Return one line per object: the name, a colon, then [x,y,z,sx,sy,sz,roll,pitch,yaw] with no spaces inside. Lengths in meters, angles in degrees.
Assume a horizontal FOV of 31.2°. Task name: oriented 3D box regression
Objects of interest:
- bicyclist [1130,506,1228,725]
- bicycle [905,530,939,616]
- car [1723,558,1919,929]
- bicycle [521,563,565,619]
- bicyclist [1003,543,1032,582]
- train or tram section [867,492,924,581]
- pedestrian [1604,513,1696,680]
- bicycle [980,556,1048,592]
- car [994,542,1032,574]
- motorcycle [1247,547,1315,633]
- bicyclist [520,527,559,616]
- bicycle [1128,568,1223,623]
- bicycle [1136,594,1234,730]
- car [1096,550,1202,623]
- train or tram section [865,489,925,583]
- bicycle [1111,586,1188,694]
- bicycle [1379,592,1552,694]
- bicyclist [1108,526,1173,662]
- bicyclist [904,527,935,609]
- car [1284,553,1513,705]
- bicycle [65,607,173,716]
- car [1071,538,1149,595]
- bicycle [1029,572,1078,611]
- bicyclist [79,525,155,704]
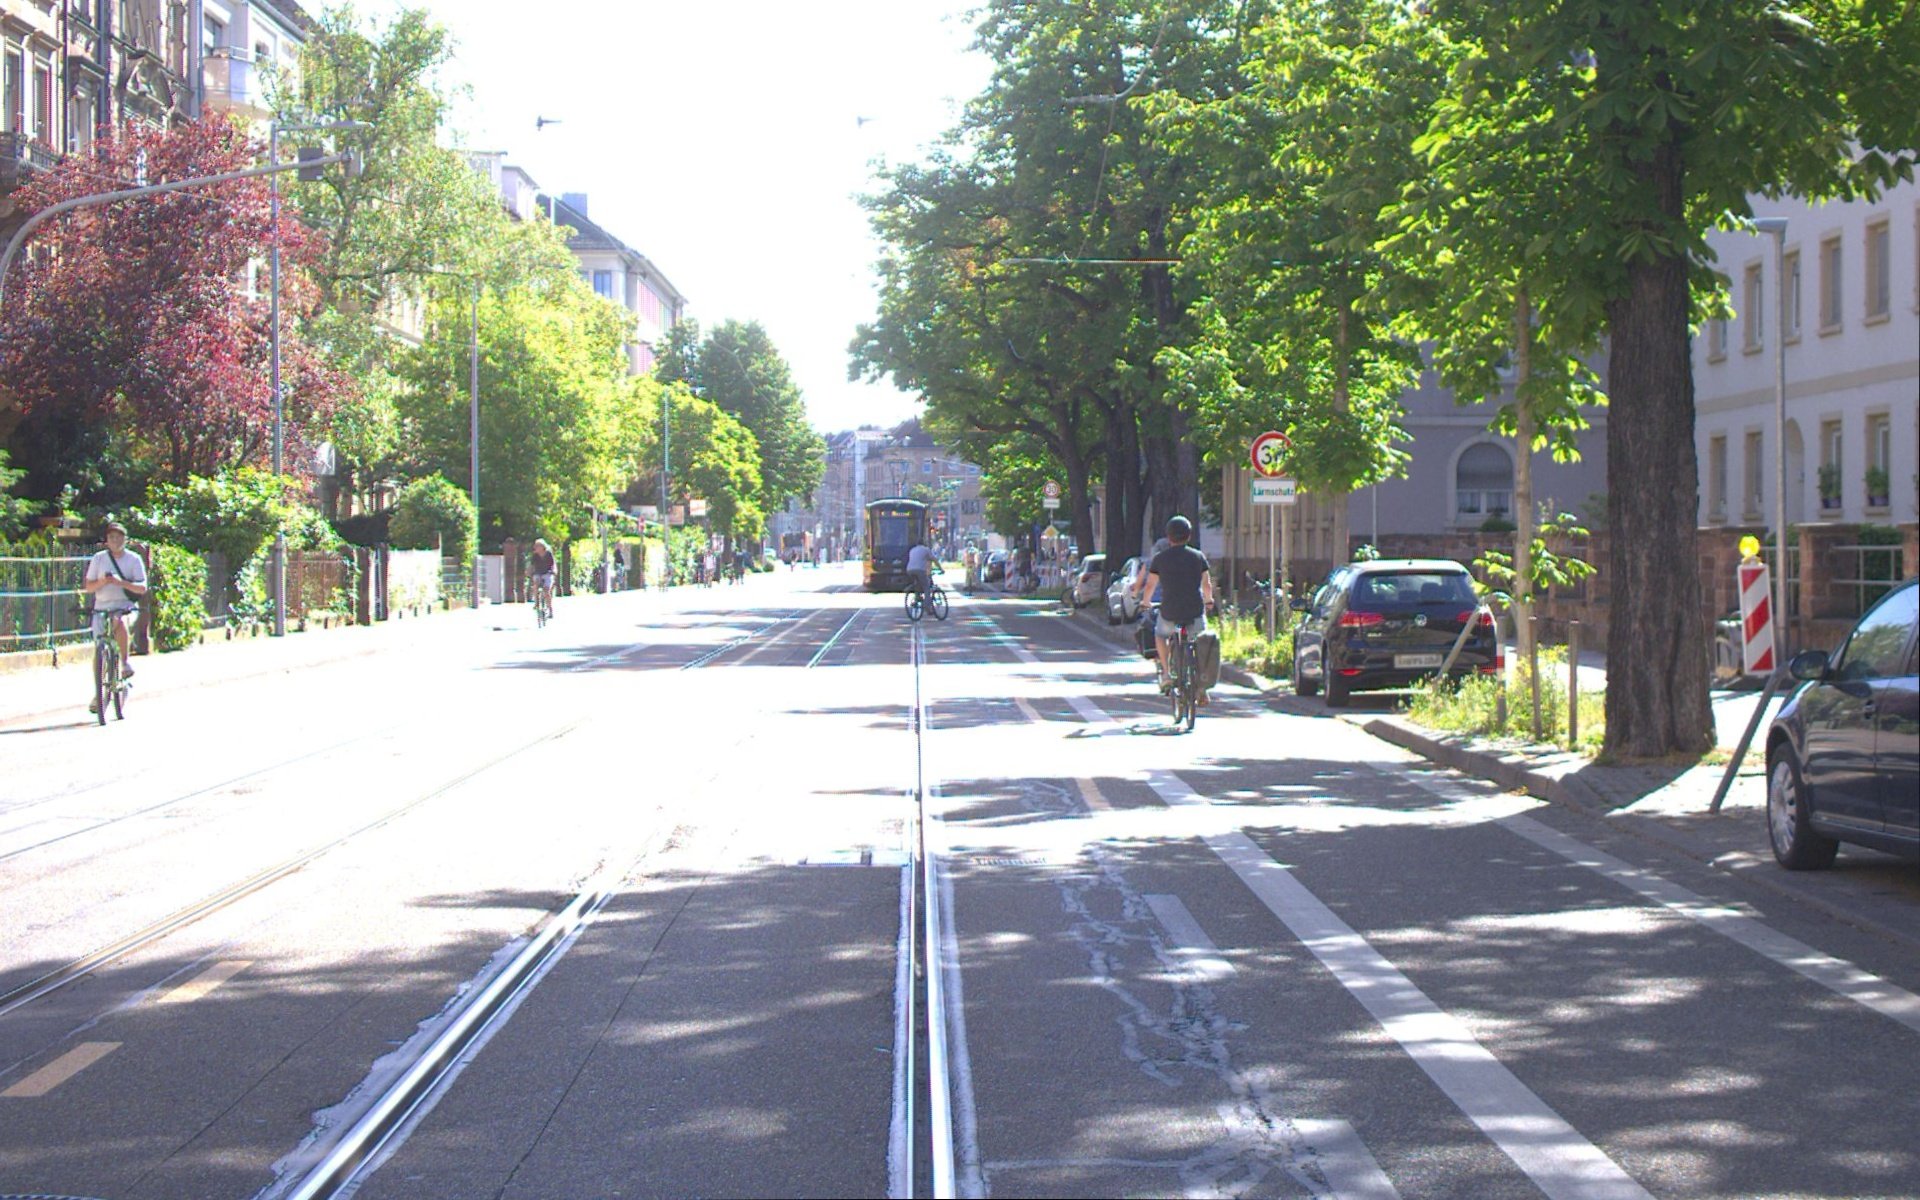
bicyclist: [1.884,0.126,29.695,0.727,1.842,0.837,2,1,-1]
bicycle: [-0.844,-0.606,76.223,0.663,1.853,2.260,2,1,1]
car: [4.705,0.568,14.841,1.720,1.468,4.247,-1,1,-2]
bicycle: [-8.599,-0.194,70.906,0.692,1.108,1.719,-1,1,-1]
bicyclist: [1.938,-1.265,115.651,0.772,1.287,0.733,2,1,16]
train or tram section: [-2.573,-2.526,137.381,2.153,3.420,6.611,2,1,-1]
pedestrian: [7.240,-0.041,36.079,0.764,1.718,0.579,2,1,29]
bicycle: [1.829,-0.879,115.763,2.141,1.167,0.802,2,1,15]
car: [2.633,-2.108,172.503,1.754,1.546,3.677,1,1,-1]
motorcycle: [4.665,-0.161,50.057,0.495,1.186,1.862,-4,2,-8]
bicyclist: [-8.618,-0.594,70.474,0.660,1.795,0.616,-2,0,0]
bicycle: [4.255,-0.091,68.048,1.792,1.016,0.620,-2,1,-1]
bicycle: [1.948,0.521,29.923,0.692,1.108,1.719,2,1,-1]
car: [3.868,-0.310,71.106,1.628,1.431,4.666,-1,1,-4]
train or tram section: [-2.462,-2.423,130.737,2.153,3.420,6.611,2,1,-1]
bicycle: [2.050,0.422,37.384,0.692,1.108,1.917,2,1,-1]
bicycle: [5.643,0.474,38.400,1.792,1.063,0.621,-2,1,-5]
bicyclist: [1.966,-0.070,37.518,0.635,1.463,0.616,2,1,-1]
bicyclist: [-0.894,-0.707,75.884,0.645,1.789,0.956,2,1,-1]
car: [4.480,0.258,35.648,1.787,1.459,4.045,0,1,-1]
bicycle: [-7.757,0.548,31.788,0.460,0.922,2.203,-1,1,-1]
car: [3.874,-0.895,89.434,1.748,1.415,4.000,-1,1,-1]
bicycle: [2.580,-0.239,94.879,1.270,1.020,0.704,2,0,7]
bicyclist: [-7.775,0.126,31.727,0.464,1.613,0.744,-2,1,-1]
